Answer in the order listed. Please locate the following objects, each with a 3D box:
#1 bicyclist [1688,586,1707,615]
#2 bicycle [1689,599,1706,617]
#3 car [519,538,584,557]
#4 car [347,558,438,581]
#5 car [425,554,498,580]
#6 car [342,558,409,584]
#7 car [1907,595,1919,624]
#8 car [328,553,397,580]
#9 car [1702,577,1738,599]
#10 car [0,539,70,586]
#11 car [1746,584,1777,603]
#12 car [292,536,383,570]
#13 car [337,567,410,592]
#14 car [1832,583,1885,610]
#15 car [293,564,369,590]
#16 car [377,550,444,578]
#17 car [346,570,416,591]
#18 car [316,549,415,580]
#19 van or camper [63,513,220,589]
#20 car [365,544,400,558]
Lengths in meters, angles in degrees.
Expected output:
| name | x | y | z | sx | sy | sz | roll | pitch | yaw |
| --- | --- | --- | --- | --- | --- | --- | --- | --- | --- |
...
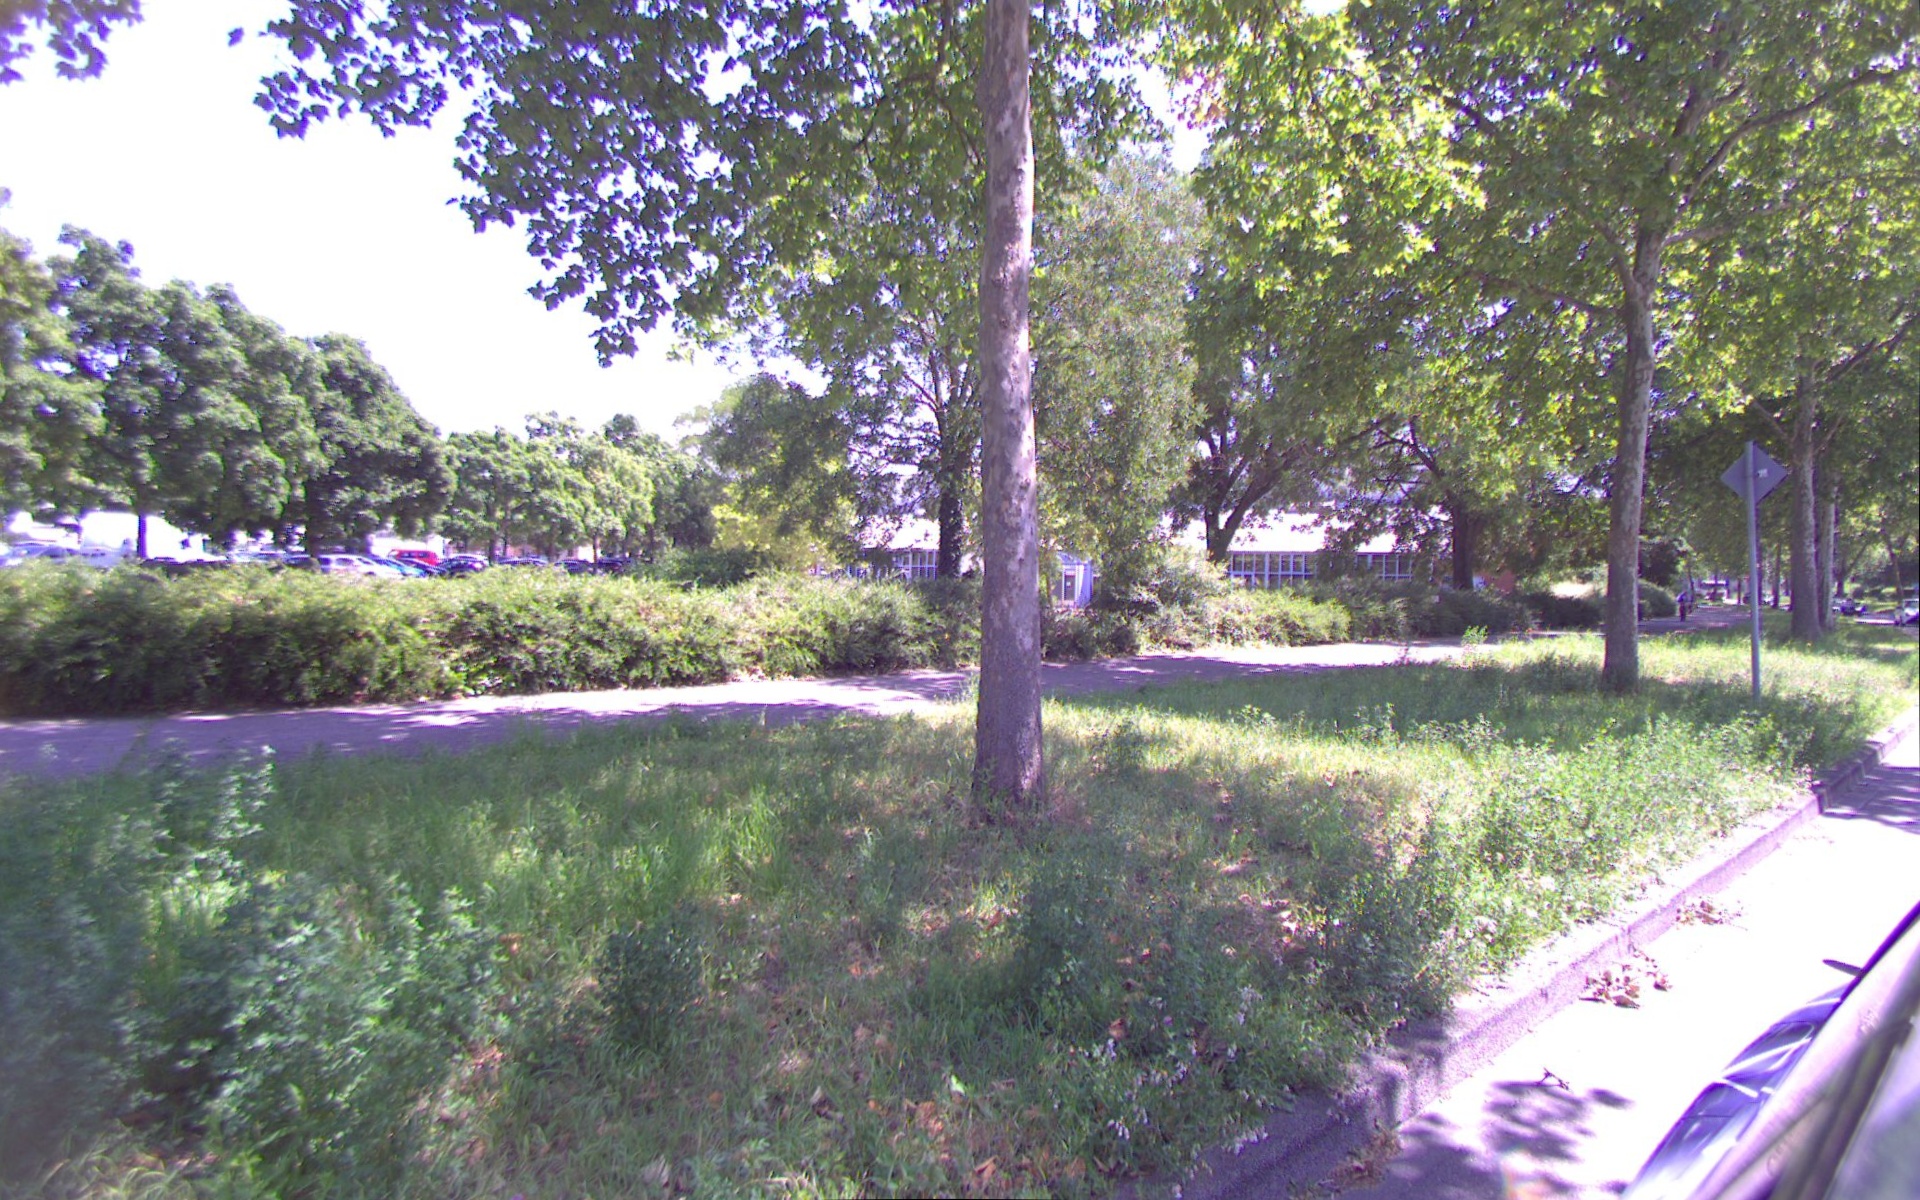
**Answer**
| name | x | y | z | sx | sy | sz | roll | pitch | yaw |
| --- | --- | --- | --- | --- | --- | --- | --- | --- | --- |
| bicyclist | 34.511 | 0.020 | 47.343 | 0.599 | 1.355 | 0.656 | 2 | 1 | 43 |
| bicycle | 34.536 | 0.361 | 47.386 | 0.463 | 0.773 | 1.643 | 2 | 2 | 41 |
| car | -62.430 | -7.983 | 154.812 | 8.647 | 2.620 | 3.054 | 1 | 1 | -9 |
| car | -27.486 | -1.464 | 49.130 | 3.494 | 1.047 | 1.685 | 1 | 2 | -8 |
| car | -28.488 | -1.895 | 57.882 | 3.357 | 1.383 | 1.720 | 1 | 1 | -8 |
| car | -27.557 | -1.372 | 47.720 | 2.547 | 1.141 | 0.955 | 1 | 1 | -8 |
| car | 50.333 | 0.516 | 52.533 | 1.618 | 1.463 | 3.595 | 2 | 1 | 42 |
| car | -27.502 | -1.539 | 46.629 | 2.547 | 1.141 | 1.008 | 1 | 1 | -8 |
| car | 93.717 | -1.496 | 124.859 | 2.898 | 2.687 | 6.295 | 2 | 2 | 32 |
| car | -36.510 | -1.430 | 38.430 | 1.919 | 1.739 | 4.073 | 1 | 1 | -1 |
| car | 82.722 | -0.674 | 104.465 | 1.985 | 1.816 | 3.955 | 2 | 1 | 32 |
| car | -38.787 | -2.904 | 63.150 | 4.334 | 2.038 | 2.249 | 1 | 1 | -5 |
| car | -25.463 | -0.888 | 43.963 | 2.547 | 0.999 | 0.955 | 1 | 1 | -8 |
| car | 66.071 | -0.268 | 74.470 | 1.982 | 1.905 | 3.961 | 2 | 1 | 28 |
| car | -26.285 | -0.953 | 42.338 | 2.547 | 1.049 | 0.955 | 1 | 1 | -8 |
| car | -40.903 | -2.696 | 75.370 | 3.919 | 2.039 | 1.969 | 0 | 0 | -6 |
| car | -25.830 | -0.876 | 45.211 | 2.547 | 0.852 | 0.955 | 1 | 1 | -8 |
| car | -27.319 | -1.623 | 46.589 | 3.501 | 1.241 | 1.622 | 3 | 0 | -8 |
| van or camper | -32.476 | -1.915 | 40.398 | 2.161 | 2.785 | 5.131 | 1 | 2 | 0 |
| car | -69.977 | -5.929 | 122.667 | 1.433 | 1.638 | 3.326 | 2 | 2 | 35 |
